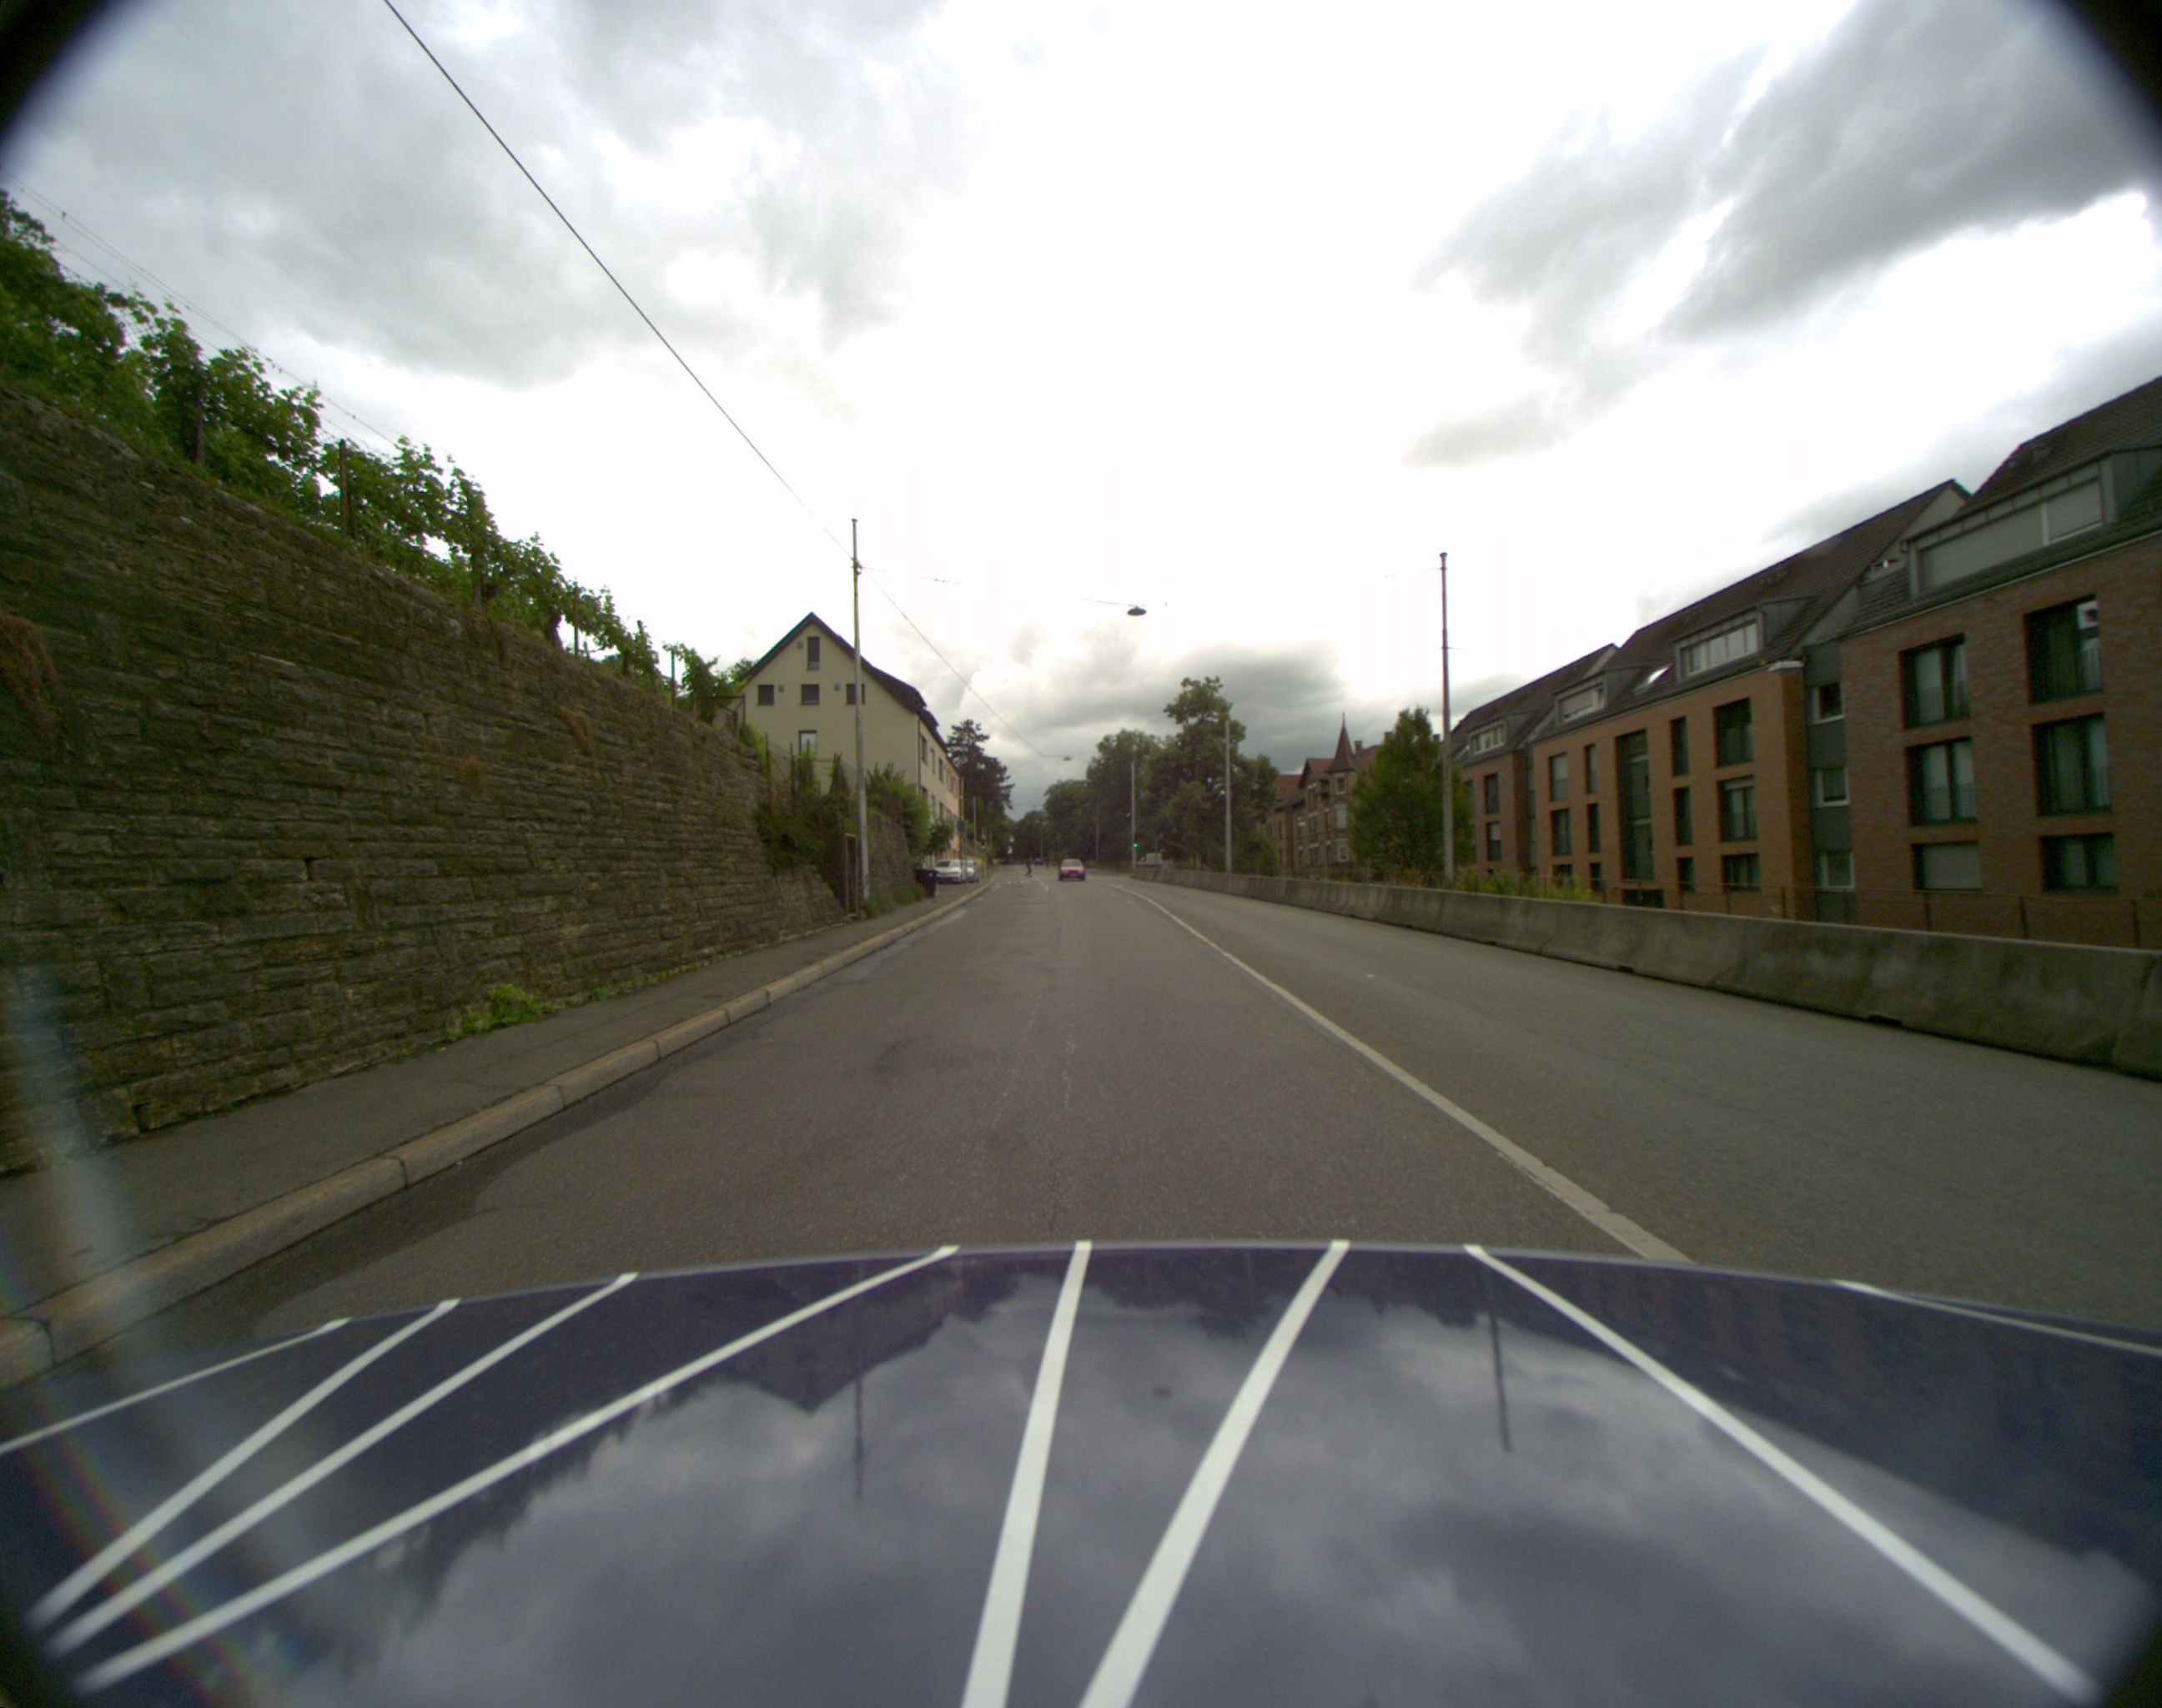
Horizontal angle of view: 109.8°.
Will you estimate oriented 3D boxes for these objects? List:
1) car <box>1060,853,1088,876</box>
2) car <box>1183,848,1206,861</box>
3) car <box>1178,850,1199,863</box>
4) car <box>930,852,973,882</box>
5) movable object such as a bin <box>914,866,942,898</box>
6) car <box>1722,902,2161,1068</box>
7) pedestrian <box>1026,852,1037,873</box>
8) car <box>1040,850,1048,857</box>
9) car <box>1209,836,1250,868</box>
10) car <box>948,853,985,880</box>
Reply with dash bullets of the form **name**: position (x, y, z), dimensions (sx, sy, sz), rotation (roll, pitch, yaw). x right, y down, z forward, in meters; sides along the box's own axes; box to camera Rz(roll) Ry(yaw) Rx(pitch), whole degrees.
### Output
- **car**: position (-0.499, 0.707, 50.903), dimensions (1.646, 1.429, 3.999), rotation (-2, -1, -3)
- **car**: position (12.901, 0.061, 86.448), dimensions (1.999, 1.346, 4.000), rotation (0, 0, 0)
- **car**: position (13.704, 0.264, 97.044), dimensions (1.999, 1.543, 4.000), rotation (-1, 0, 0)
- **car**: position (-7.468, 0.729, 44.224), dimensions (1.799, 1.566, 4.054), rotation (-3, 1, -1)
- **movable object such as a bin**: position (-5.585, 1.014, 27.766), dimensions (0.811, 1.120, 0.874), rotation (-2, 1, -2)
- **car**: position (11.188, 1.559, 10.302), dimensions (1.538, 1.505, 3.999), rotation (-2, 0, -1)
- **pedestrian**: position (-4.165, 0.699, 63.824), dimensions (0.735, 1.702, 0.696), rotation (-2, 1, 2)
- **car**: position (-11.197, -0.069, 228.797), dimensions (1.999, 1.838, 3.999), rotation (-9, 0, -3)
- **car**: position (12.936, -0.247, 66.418), dimensions (2.565, 2.567, 5.735), rotation (-3, 1, 2)
- **car**: position (-7.361, 0.754, 49.161), dimensions (1.732, 1.566, 4.248), rotation (-3, 1, -1)
